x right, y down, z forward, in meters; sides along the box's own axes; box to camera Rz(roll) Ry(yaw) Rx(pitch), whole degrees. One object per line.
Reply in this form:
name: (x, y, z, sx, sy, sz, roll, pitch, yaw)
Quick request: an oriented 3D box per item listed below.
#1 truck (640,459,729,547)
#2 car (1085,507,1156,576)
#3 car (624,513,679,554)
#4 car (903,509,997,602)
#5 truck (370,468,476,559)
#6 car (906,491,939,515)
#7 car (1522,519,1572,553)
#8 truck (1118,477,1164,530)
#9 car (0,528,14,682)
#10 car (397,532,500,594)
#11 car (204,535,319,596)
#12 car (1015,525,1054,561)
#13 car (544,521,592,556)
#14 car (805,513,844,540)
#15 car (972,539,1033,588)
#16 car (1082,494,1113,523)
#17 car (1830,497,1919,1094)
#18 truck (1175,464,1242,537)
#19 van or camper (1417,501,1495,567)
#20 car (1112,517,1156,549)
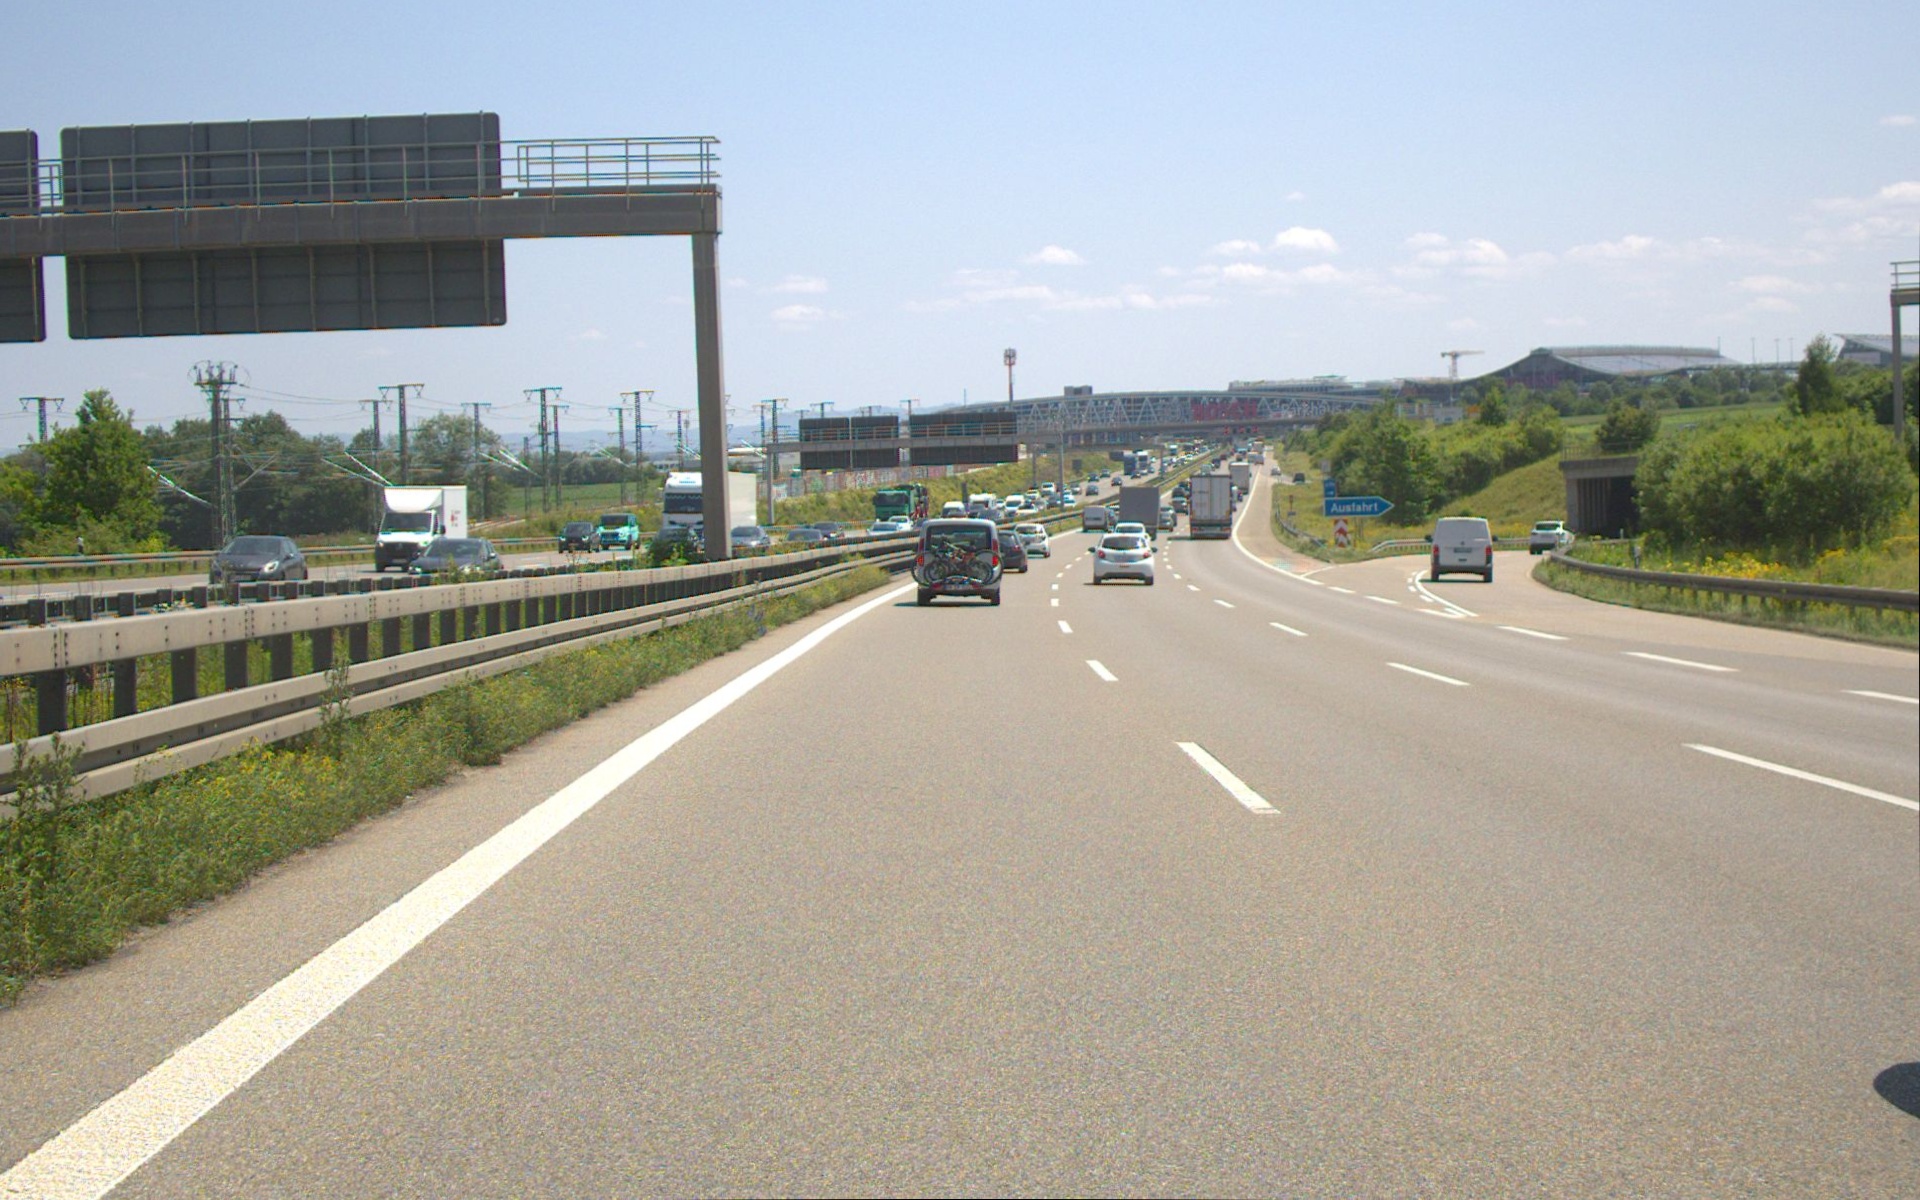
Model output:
truck: (-13.424, -4.716, 168.008, 3.248, 4.195, 7.692, 0, 2, 4)
car: (4.551, -1.663, 98.044, 1.927, 1.912, 4.517, 0, 1, 1)
car: (-11.973, -2.598, 133.693, 1.742, 1.555, 4.000, 0, 2, 1)
car: (-0.184, -0.941, 73.075, 1.926, 1.912, 4.948, 0, 1, 1)
truck: (-19.089, -3.097, 122.621, 2.320, 3.156, 8.113, 0, 2, 1)
car: (-2.331, -6.097, 216.259, 1.842, 1.455, 4.997, 0, 2, 2)
car: (30.454, -3.300, 178.258, 1.995, 1.744, 3.997, 0, 1, 18)
truck: (11.150, -5.884, 211.251, 2.703, 3.098, 10.658, 0, 1, 3)
car: (-10.955, 0.073, 34.356, 1.748, 1.619, 4.831, 0, 1, -1)
car: (-12.682, -0.953, 85.487, 1.790, 1.459, 4.859, 0, 2, 1)
car: (-16.854, -0.848, 83.110, 1.905, 1.415, 4.000, 0, 2, 1)
car: (3.293, -2.492, 151.359, 1.576, 1.547, 3.964, 0, 1, 3)
car: (-19.928, -3.123, 175.019, 1.805, 1.742, 4.000, 0, 1, 3)
car: (-7.713, -4.202, 196.291, 1.842, 1.455, 4.997, 0, 2, 2)
car: (1.462, -1.227, 115.971, 1.927, 1.621, 4.517, 0, 1, 3)
car: (9.751, -6.507, 244.660, 2.186, 1.996, 4.000, 0, 2, 2)
car: (3.633, 0.559, 7.861, 1.898, 1.641, 4.999, 0, 1, -1)
truck: (15.537, -6.276, 215.669, 4.039, 4.247, 11.757, 0, 3, 3)
van or camper: (15.345, -2.029, 106.287, 2.157, 2.007, 4.302, 0, 1, 11)
car: (8.041, -3.094, 158.939, 1.982, 1.468, 4.000, 0, 1, 3)
